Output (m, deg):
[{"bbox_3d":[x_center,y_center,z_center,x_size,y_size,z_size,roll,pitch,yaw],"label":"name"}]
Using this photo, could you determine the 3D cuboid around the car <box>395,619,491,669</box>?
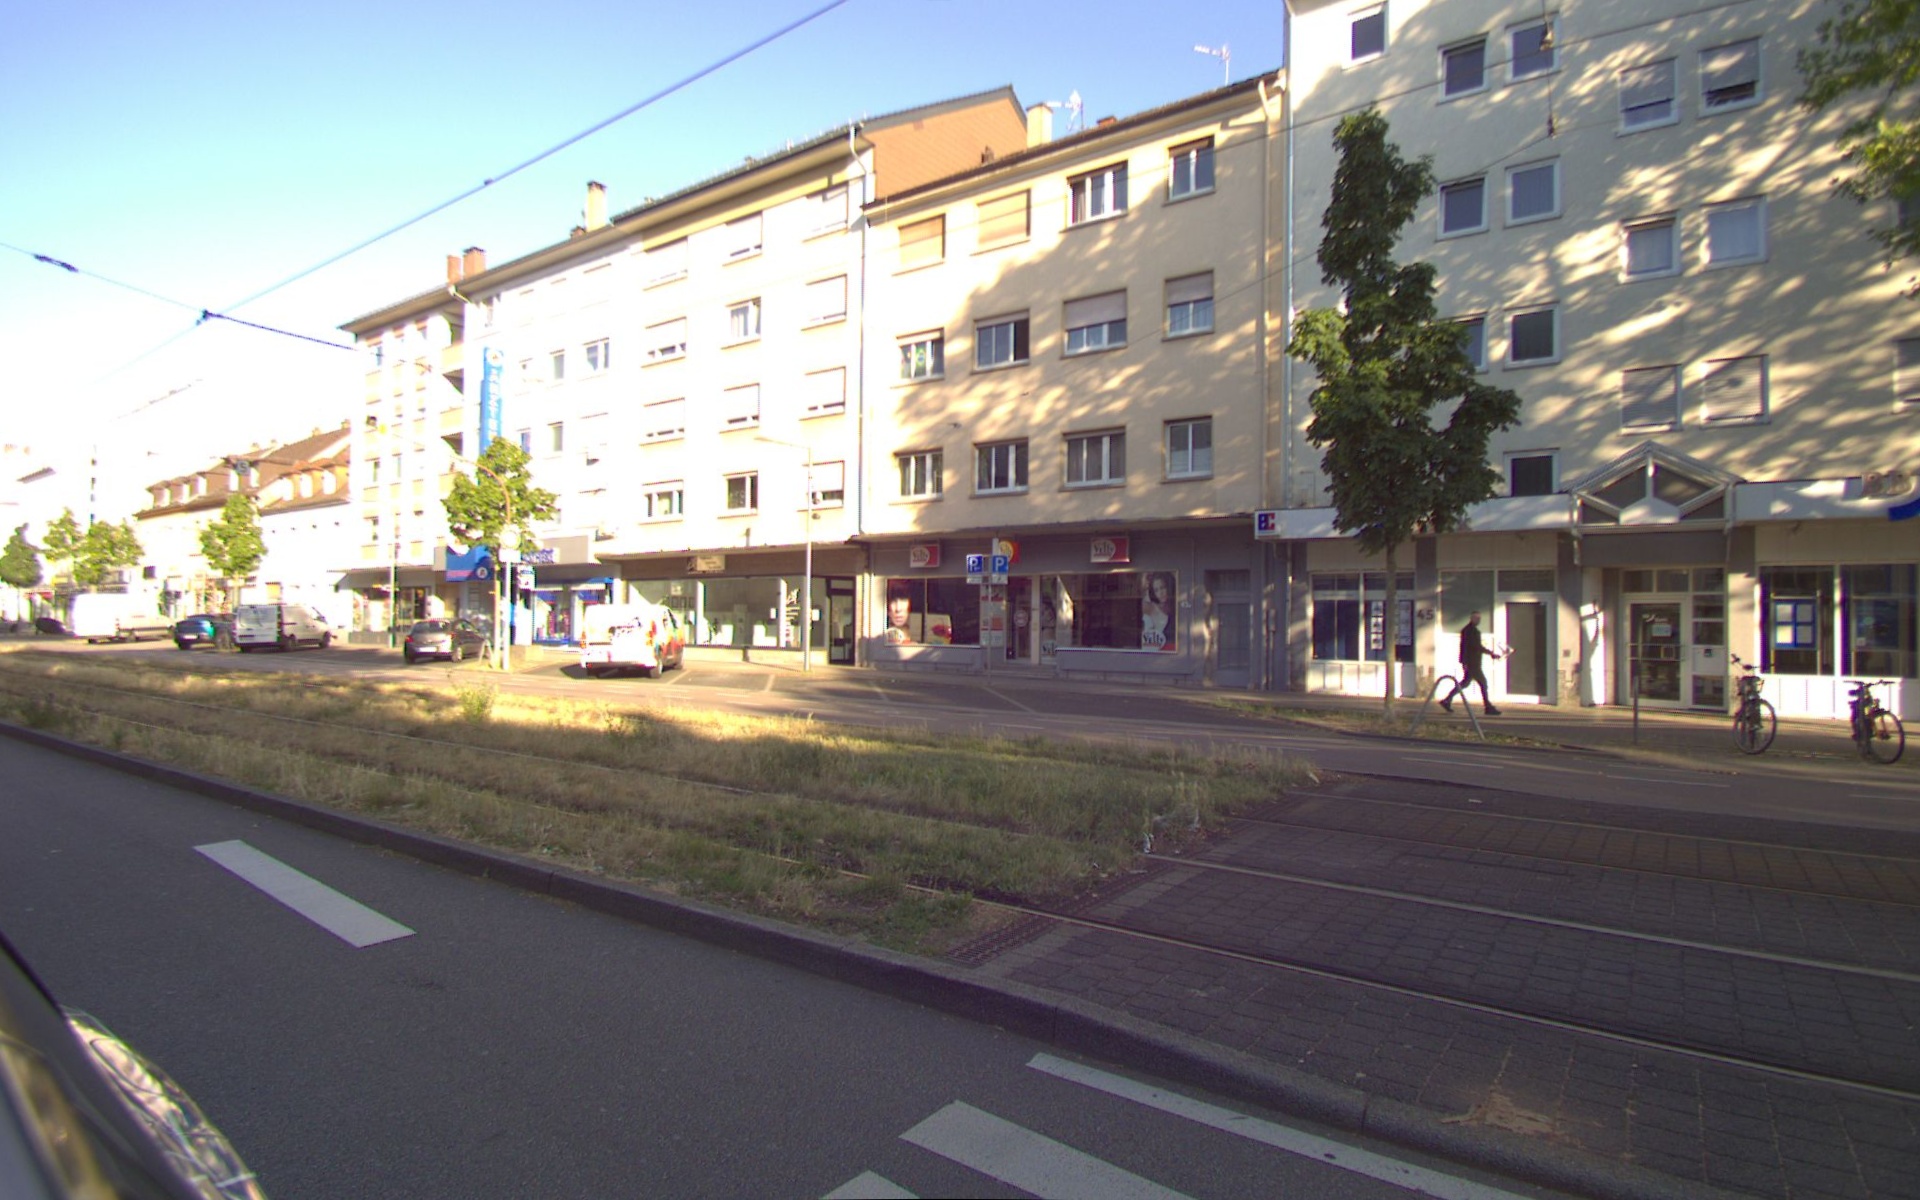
[{"bbox_3d":[-17.626,1.458,34.711,1.741,1.501,4.461,-1,0,-11],"label":"car"}]

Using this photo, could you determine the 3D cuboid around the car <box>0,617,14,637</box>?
[{"bbox_3d":[-73.407,2.089,75.462,1.752,1.501,3.899,-1,0,13],"label":"car"}]

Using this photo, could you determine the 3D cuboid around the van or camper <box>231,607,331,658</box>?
[{"bbox_3d":[-28.578,1.307,42.765,1.771,2.004,4.460,-1,0,-9],"label":"van or camper"}]

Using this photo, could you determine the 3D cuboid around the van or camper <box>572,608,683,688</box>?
[{"bbox_3d":[-8.900,1.217,27.500,1.921,1.912,4.822,-1,0,-6],"label":"van or camper"}]

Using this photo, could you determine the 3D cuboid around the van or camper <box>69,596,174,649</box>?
[{"bbox_3d":[-45.397,1.171,55.024,1.966,2.687,6.417,-1,0,-16],"label":"van or camper"}]

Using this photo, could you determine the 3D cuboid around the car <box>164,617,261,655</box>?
[{"bbox_3d":[-34.311,1.605,46.586,1.850,1.598,4.007,-1,0,-7],"label":"car"}]

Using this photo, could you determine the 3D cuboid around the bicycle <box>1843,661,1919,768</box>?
[{"bbox_3d":[11.382,1.364,12.447,0.533,1.133,1.878,-1,-1,34],"label":"bicycle"}]

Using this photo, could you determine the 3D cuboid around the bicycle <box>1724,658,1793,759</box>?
[{"bbox_3d":[10.357,1.369,13.166,0.533,1.133,1.878,-1,-1,34],"label":"bicycle"}]

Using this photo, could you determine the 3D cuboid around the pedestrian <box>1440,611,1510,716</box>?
[{"bbox_3d":[9.160,1.107,18.000,0.970,1.801,0.612,-1,0,41],"label":"pedestrian"}]
